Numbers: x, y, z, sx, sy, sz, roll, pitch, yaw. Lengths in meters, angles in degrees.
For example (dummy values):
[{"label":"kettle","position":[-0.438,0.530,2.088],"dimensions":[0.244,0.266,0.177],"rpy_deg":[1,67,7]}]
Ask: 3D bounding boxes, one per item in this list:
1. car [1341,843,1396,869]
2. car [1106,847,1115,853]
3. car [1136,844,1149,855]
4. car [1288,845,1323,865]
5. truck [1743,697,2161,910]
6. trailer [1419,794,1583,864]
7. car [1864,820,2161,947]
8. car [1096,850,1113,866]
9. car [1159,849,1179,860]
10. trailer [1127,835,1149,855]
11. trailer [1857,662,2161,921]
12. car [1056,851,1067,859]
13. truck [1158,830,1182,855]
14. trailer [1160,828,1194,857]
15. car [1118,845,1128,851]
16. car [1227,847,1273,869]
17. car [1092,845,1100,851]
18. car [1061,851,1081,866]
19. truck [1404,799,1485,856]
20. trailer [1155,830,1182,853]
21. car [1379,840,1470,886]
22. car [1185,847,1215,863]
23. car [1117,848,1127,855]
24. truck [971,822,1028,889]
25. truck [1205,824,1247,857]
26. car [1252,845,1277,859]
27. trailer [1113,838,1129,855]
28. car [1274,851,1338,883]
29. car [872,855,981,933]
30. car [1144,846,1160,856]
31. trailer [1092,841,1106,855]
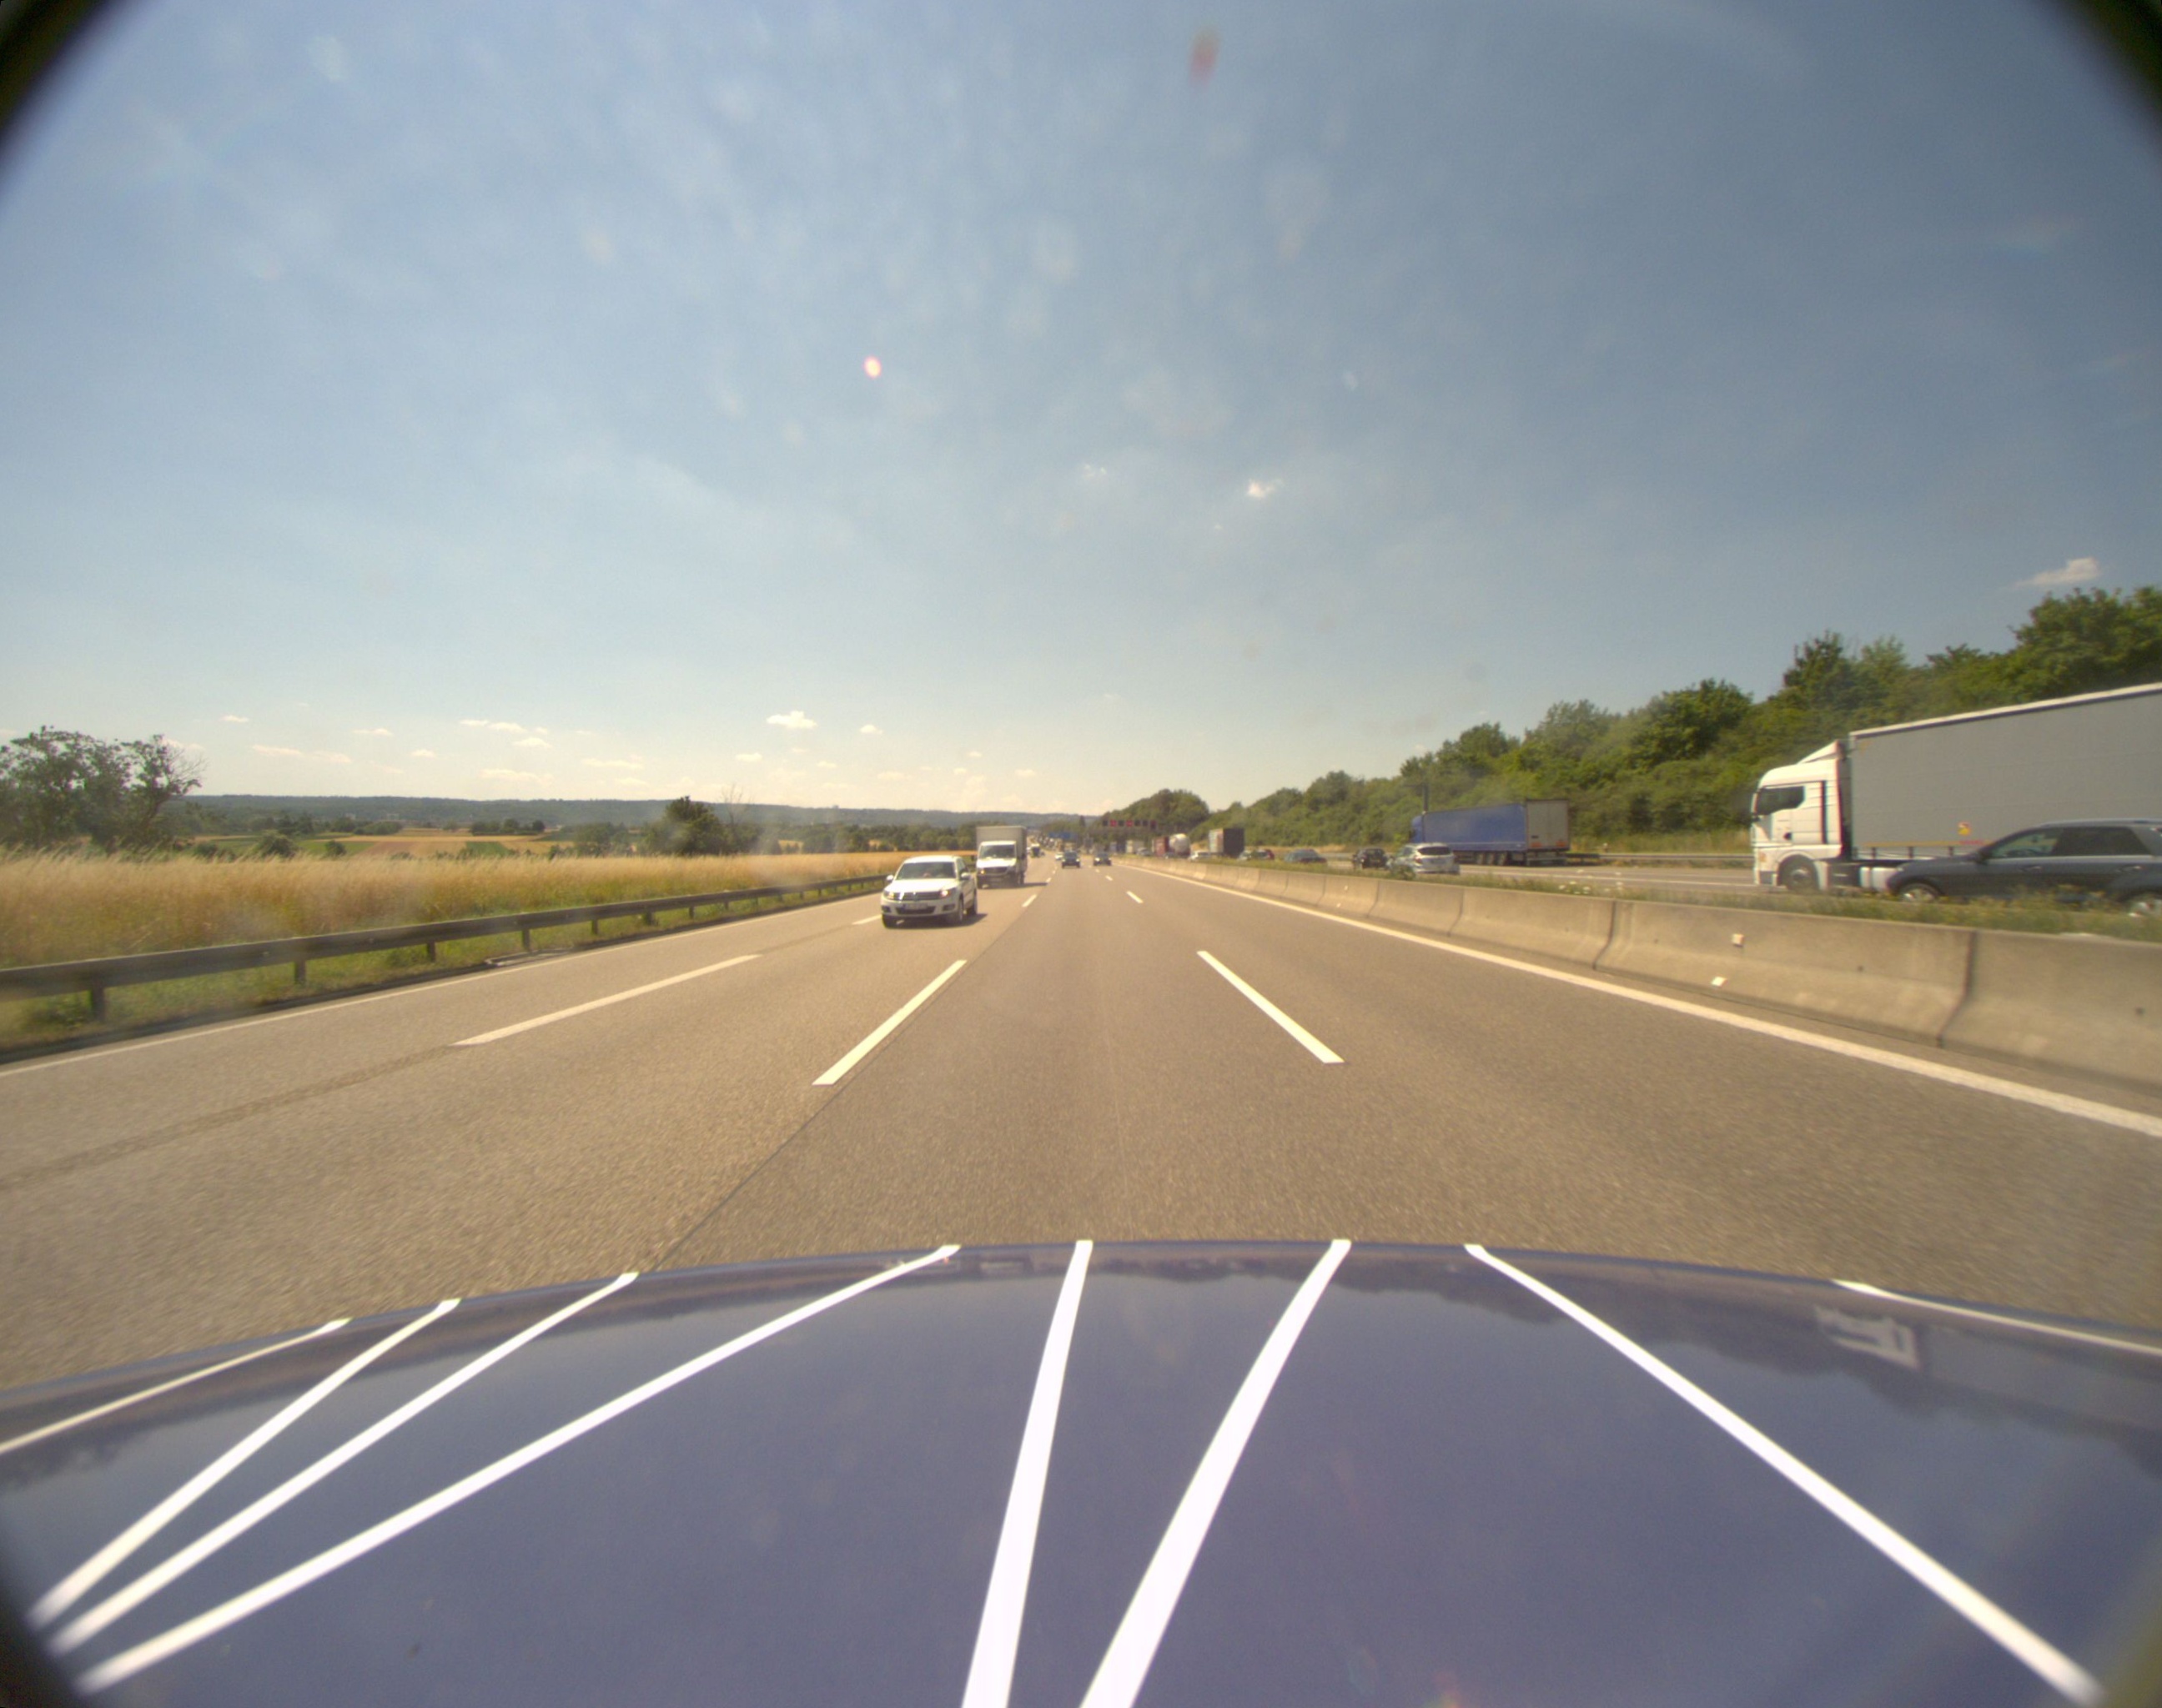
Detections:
[{"label":"car","position":[18.069,0.072,47.973],"dimensions":[1.998,1.512,4.308],"rpy_deg":[-1,1,3]},{"label":"car","position":[7.066,-0.887,182.134],"dimensions":[1.767,1.419,3.997],"rpy_deg":[-1,1,-5]},{"label":"car","position":[11.705,-0.881,145.193],"dimensions":[1.961,2.018,4.543],"rpy_deg":[-1,1,-3]},{"label":"car","position":[17.829,0.044,60.524],"dimensions":[1.882,1.441,4.633],"rpy_deg":[-1,1,6]},{"label":"truck","position":[19.919,-1.010,17.929],"dimensions":[3.207,4.109,6.182],"rpy_deg":[-1,1,0]},{"label":"trailer","position":[27.588,-1.482,51.326],"dimensions":[3.088,3.948,14.492],"rpy_deg":[-2,0,1]},{"label":"car","position":[15.505,0.359,11.525],"dimensions":[2.112,1.713,4.930],"rpy_deg":[-1,1,-1]},{"label":"car","position":[2.619,0.457,83.714],"dimensions":[1.807,1.534,4.751],"rpy_deg":[-1,-2,3]},{"label":"car","position":[10.758,-0.009,92.886],"dimensions":[1.796,1.268,4.220],"rpy_deg":[-1,1,-1]},{"label":"trailer","position":[13.816,-2.223,185.071],"dimensions":[3.363,4.548,13.642],"rpy_deg":[-2,1,-3]},{"label":"trailer","position":[19.967,-1.073,11.123],"dimensions":[3.230,4.395,13.778],"rpy_deg":[-1,0,0]},{"label":"car","position":[-3.641,0.157,141.292],"dimensions":[1.999,1.467,3.999],"rpy_deg":[-2,1,-1]},{"label":"truck","position":[14.378,-1.850,123.223],"dimensions":[2.891,3.859,6.084],"rpy_deg":[-2,1,-2]},{"label":"trailer","position":[14.562,-1.812,116.646],"dimensions":[2.945,4.141,14.166],"rpy_deg":[-2,1,-2]},{"label":"car","position":[9.928,-1.477,181.477],"dimensions":[1.767,1.419,3.997],"rpy_deg":[-1,1,-5]},{"label":"car","position":[11.696,0.236,52.788],"dimensions":[1.999,1.436,4.791],"rpy_deg":[-1,1,-1]},{"label":"car","position":[4.086,-1.619,207.686],"dimensions":[1.912,1.662,3.998],"rpy_deg":[-1,1,-4]},{"label":"car","position":[-1.036,0.432,77.191],"dimensions":[1.866,1.426,3.998],"rpy_deg":[-1,1,-2]},{"label":"truck","position":[27.627,-1.949,58.032],"dimensions":[3.096,4.005,6.093],"rpy_deg":[-2,0,0]},{"label":"trailer","position":[16.525,-2.361,143.948],"dimensions":[2.946,4.087,14.079],"rpy_deg":[-1,1,-2]},{"label":"car","position":[13.420,0.308,29.956],"dimensions":[1.846,1.667,4.442],"rpy_deg":[-1,1,4]},{"label":"car","position":[11.562,0.067,74.227],"dimensions":[1.999,1.512,5.150],"rpy_deg":[-1,1,-1]},{"label":"car","position":[8.490,-0.583,158.169],"dimensions":[1.617,1.315,3.423],"rpy_deg":[-1,1,-2]},{"label":"truck","position":[-4.022,0.051,38.731],"dimensions":[2.446,3.010,6.913],"rpy_deg":[-2,1,-4]},{"label":"truck","position":[18.131,-1.670,95.706],"dimensions":[3.017,3.894,10.353],"rpy_deg":[-1,1,-1]},{"label":"car","position":[18.870,-0.249,78.284],"dimensions":[1.751,1.396,4.212],"rpy_deg":[-1,1,3]},{"label":"trailer","position":[11.474,-2.115,219.182],"dimensions":[3.021,4.699,11.021],"rpy_deg":[-2,1,-4]},{"label":"car","position":[11.736,0.623,39.935],"dimensions":[1.999,1.512,4.306],"rpy_deg":[-1,1,-1]},{"label":"car","position":[-3.698,0.900,18.953],"dimensions":[1.837,1.635,4.172],"rpy_deg":[-2,0,-1]},{"label":"car","position":[10.977,-0.473,117.220],"dimensions":[1.848,1.461,4.830],"rpy_deg":[-2,1,-2]},{"label":"trailer","position":[5.579,-1.835,235.942],"dimensions":[3.133,4.143,10.194],"rpy_deg":[-2,1,-4]}]
